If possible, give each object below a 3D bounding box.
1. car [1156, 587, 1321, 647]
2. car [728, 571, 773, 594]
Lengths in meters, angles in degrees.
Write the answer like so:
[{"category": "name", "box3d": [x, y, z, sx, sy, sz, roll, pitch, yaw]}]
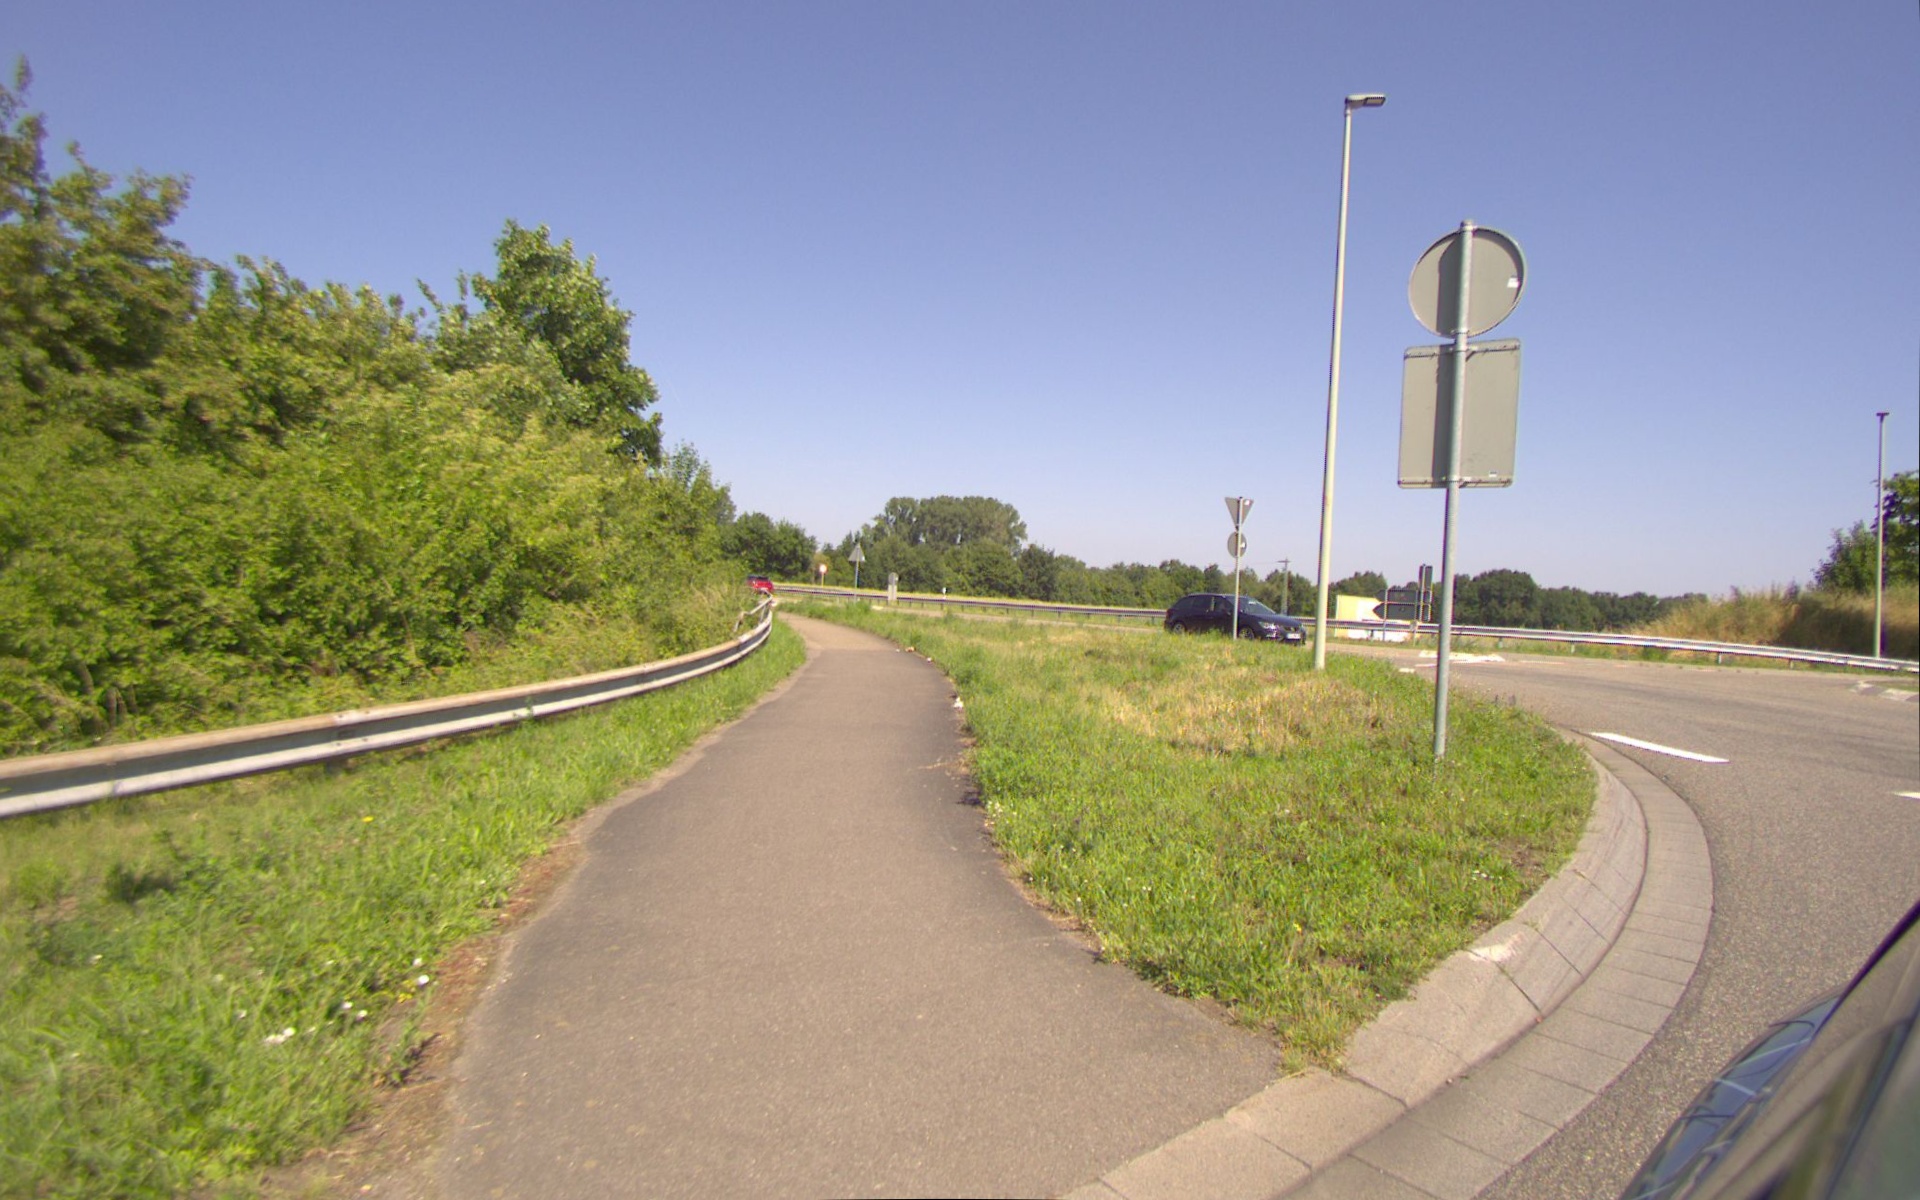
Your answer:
[{"category": "car", "box3d": [7.513, 0.426, 27.670, 1.773, 1.415, 4.182, 1, 1, -34]}, {"category": "car", "box3d": [-14.808, -1.245, 71.462, 1.716, 1.542, 3.831, 4, -1, -35]}]
